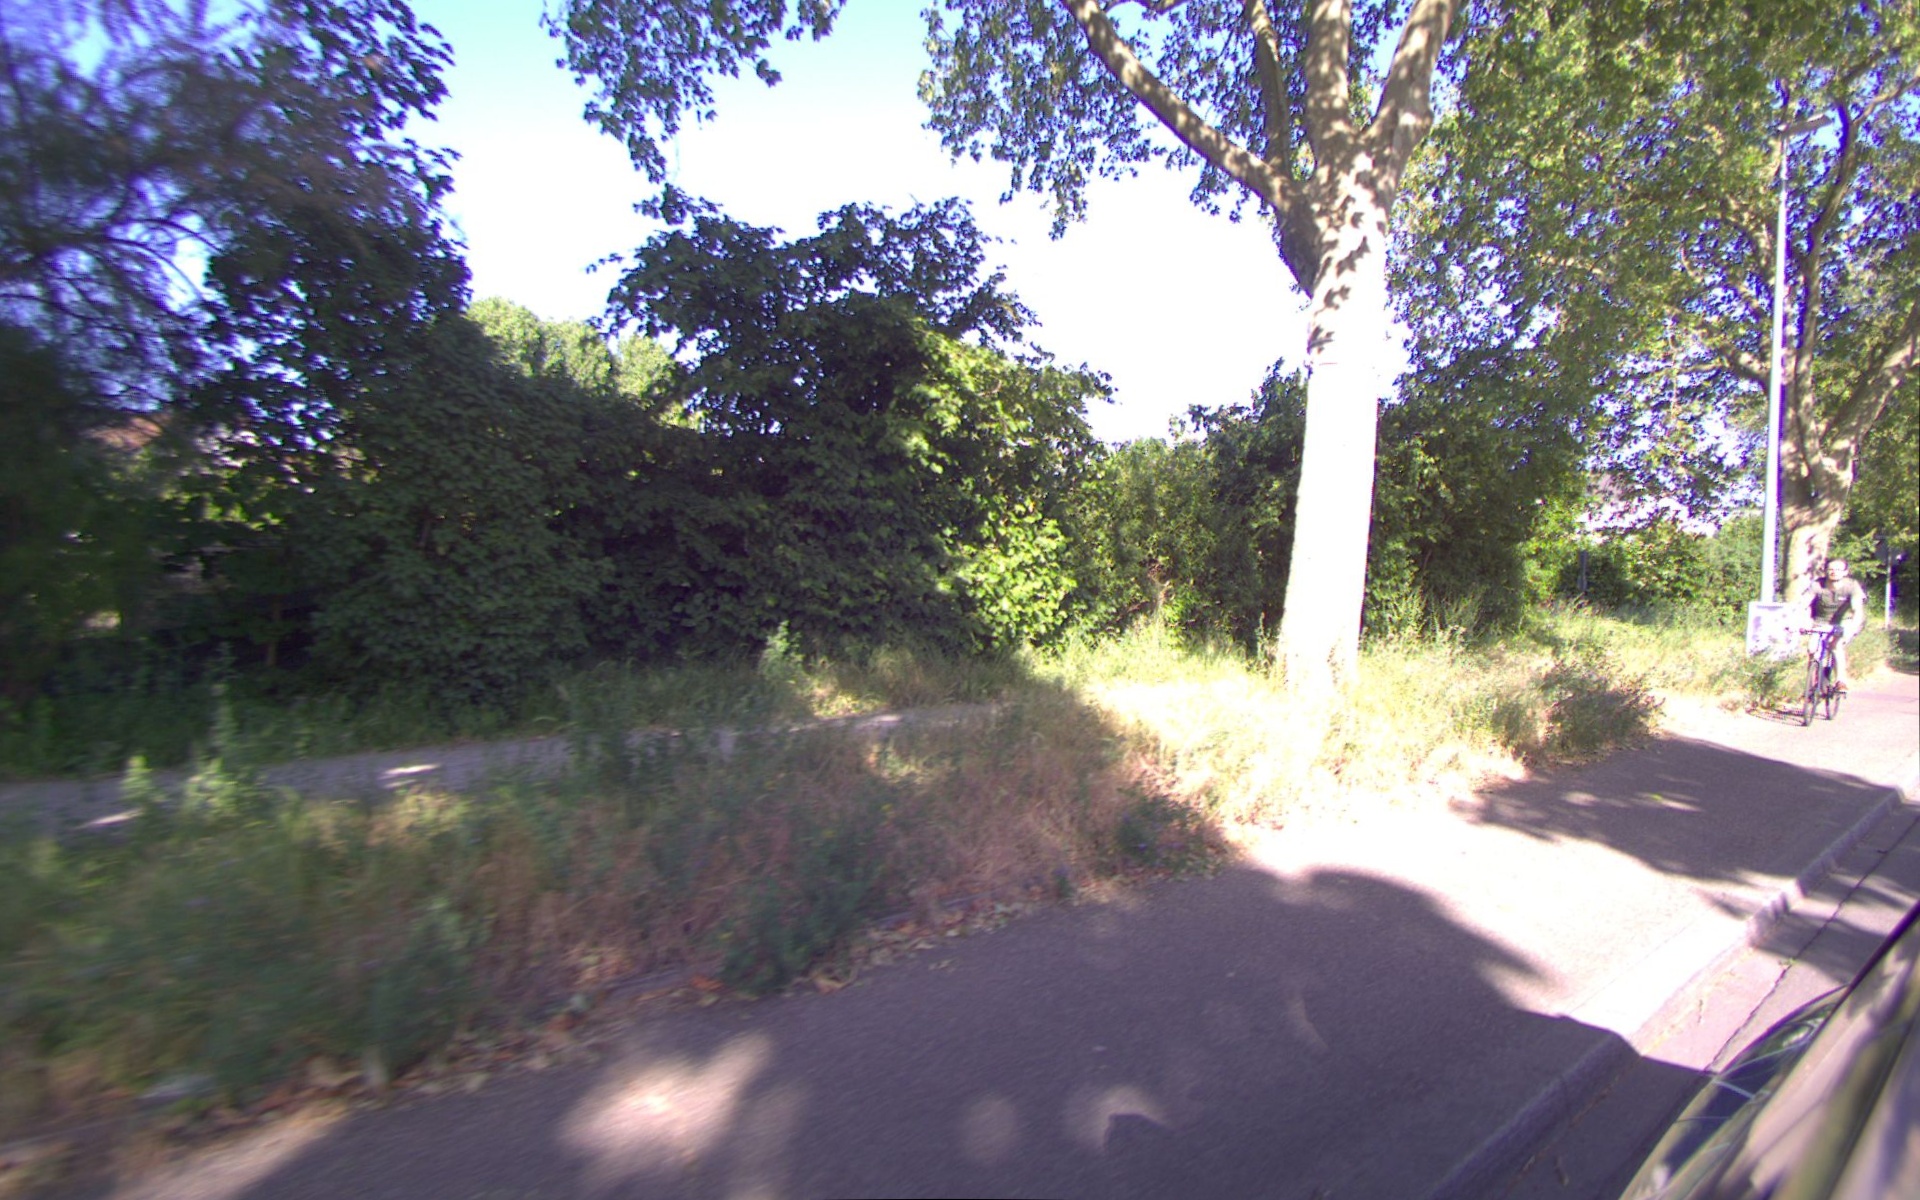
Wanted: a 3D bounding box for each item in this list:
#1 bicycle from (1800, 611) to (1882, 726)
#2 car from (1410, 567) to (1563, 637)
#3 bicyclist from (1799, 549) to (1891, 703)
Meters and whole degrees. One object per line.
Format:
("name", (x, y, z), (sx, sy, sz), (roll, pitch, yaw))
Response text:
("bicycle", (9.861, 0.724, 11.310), (1.791, 1.167, 0.441), (0, 1, -41))
("car", (19.583, 0.052, 37.911), (4.950, 2.470, 2.309), (1, 0, 27))
("bicyclist", (9.923, 0.265, 11.345), (0.893, 1.649, 0.615), (1, 2, -41))
